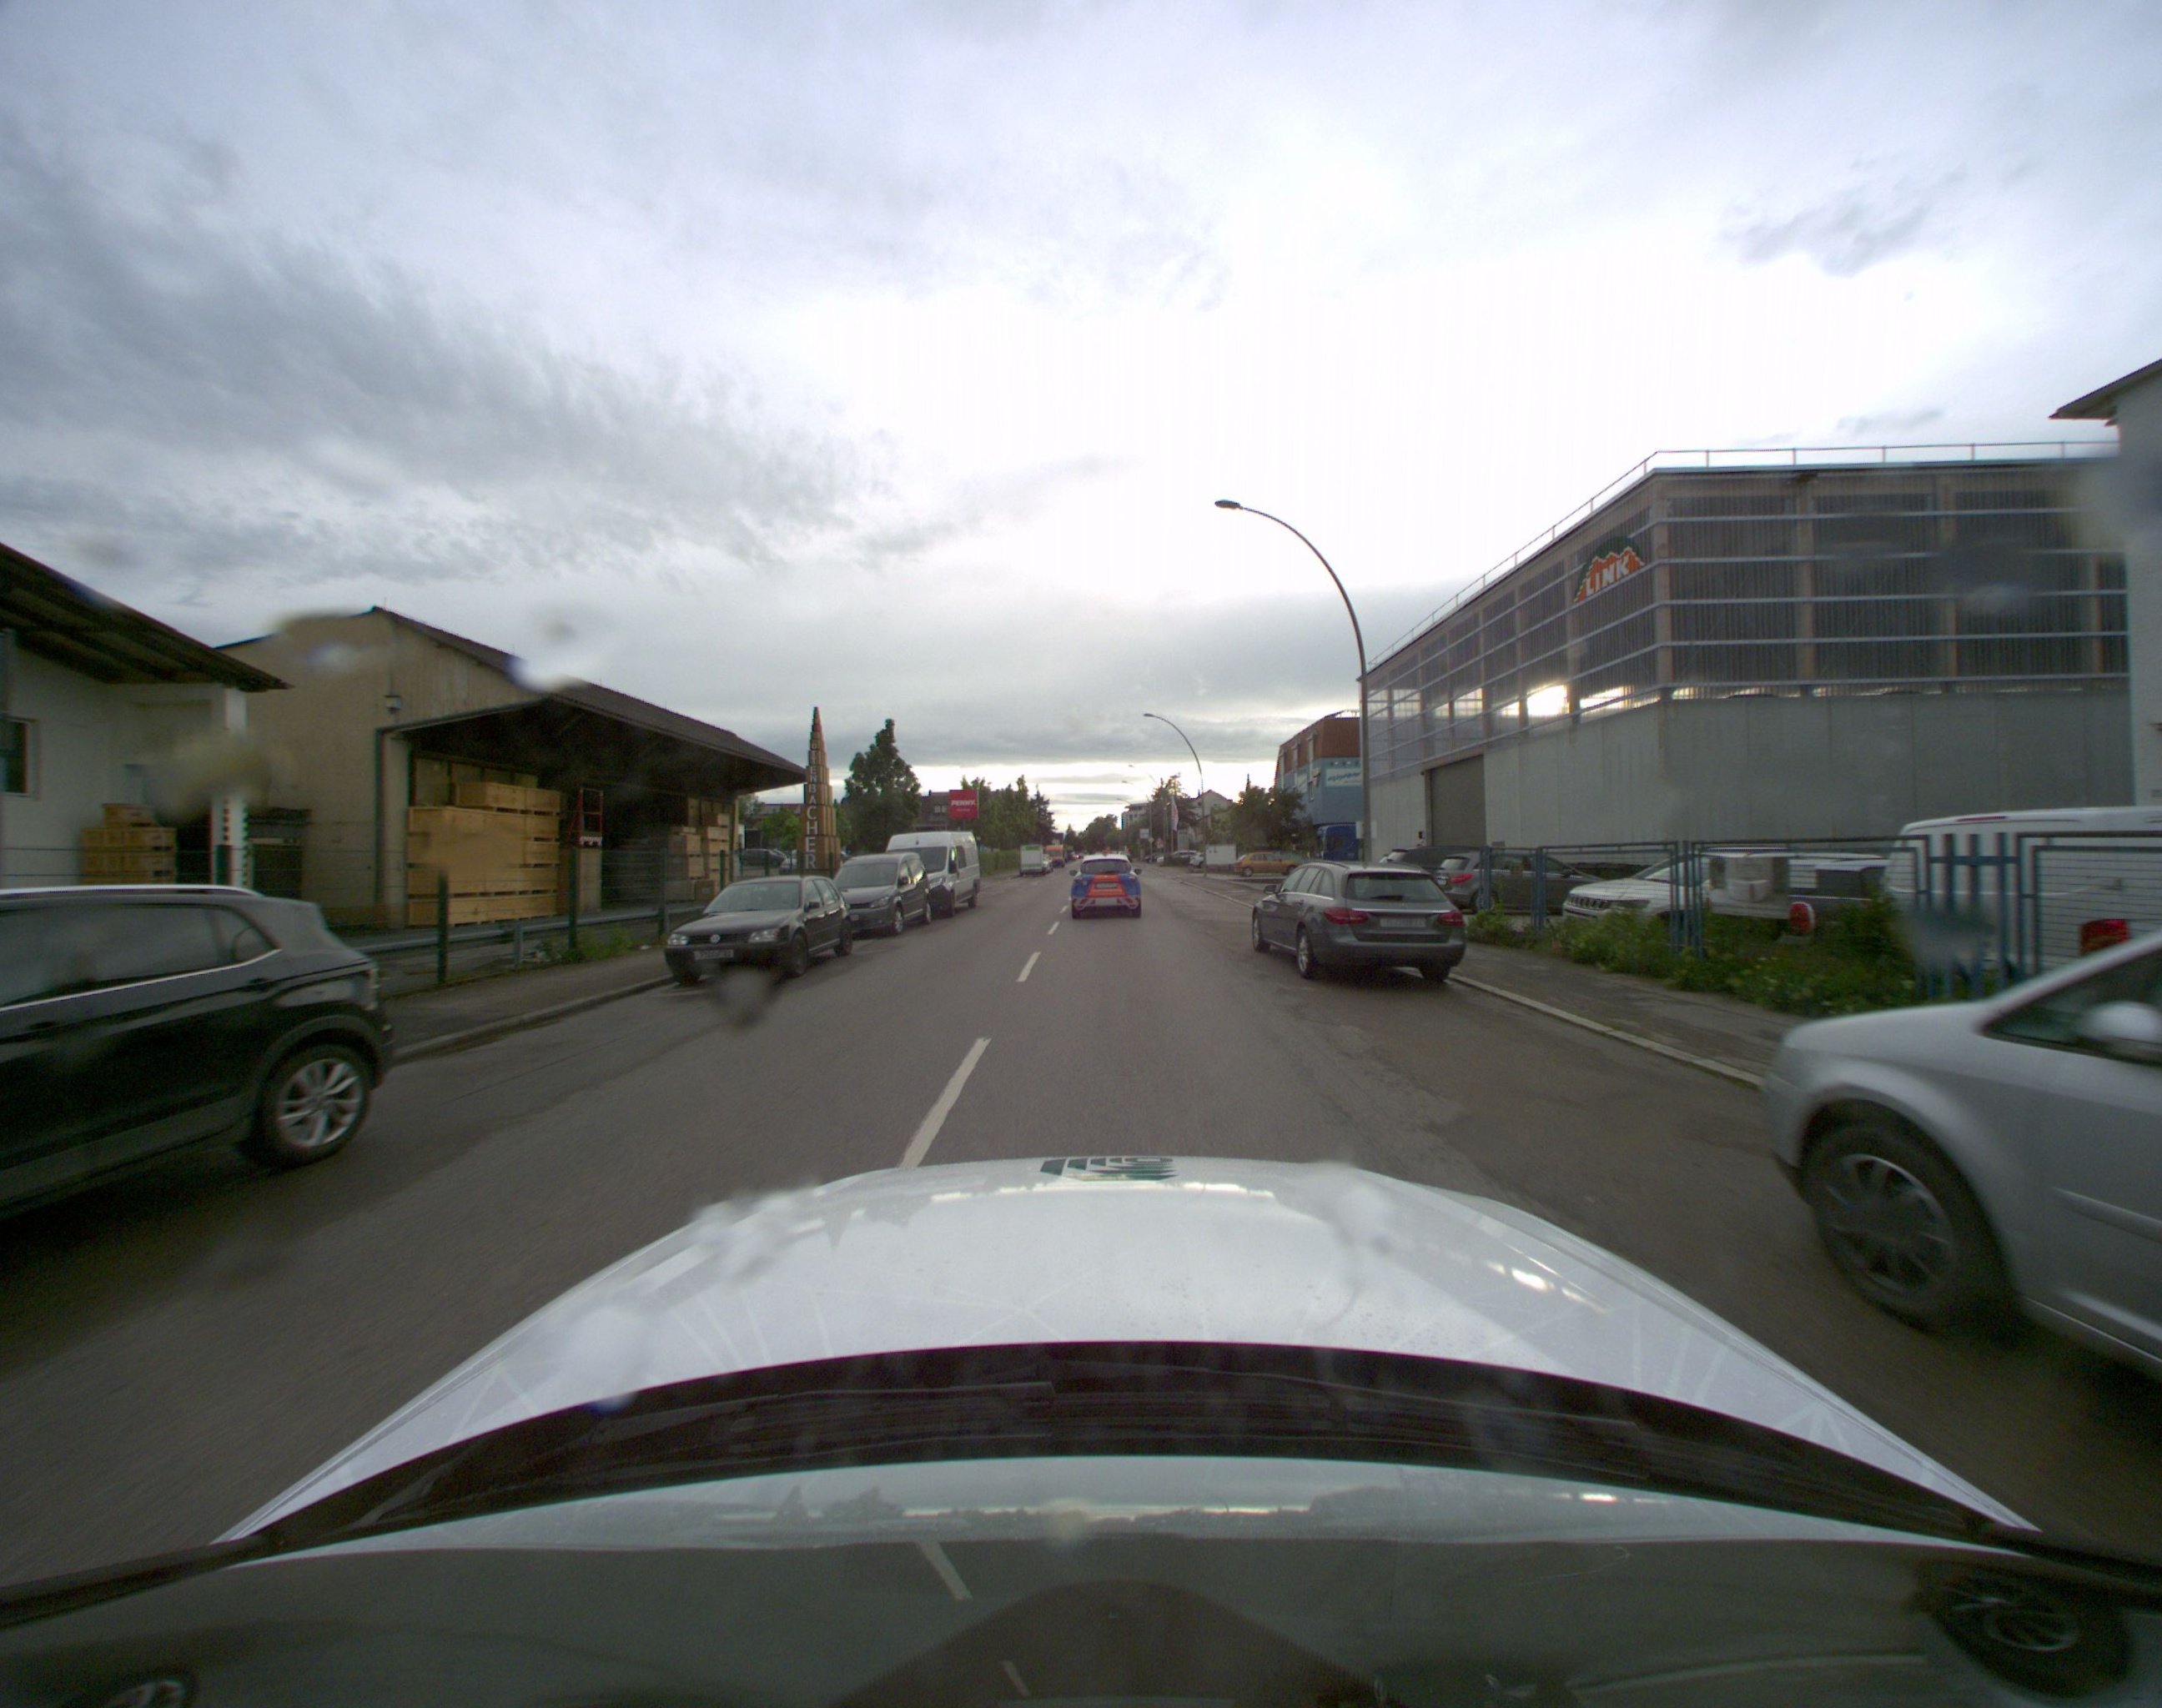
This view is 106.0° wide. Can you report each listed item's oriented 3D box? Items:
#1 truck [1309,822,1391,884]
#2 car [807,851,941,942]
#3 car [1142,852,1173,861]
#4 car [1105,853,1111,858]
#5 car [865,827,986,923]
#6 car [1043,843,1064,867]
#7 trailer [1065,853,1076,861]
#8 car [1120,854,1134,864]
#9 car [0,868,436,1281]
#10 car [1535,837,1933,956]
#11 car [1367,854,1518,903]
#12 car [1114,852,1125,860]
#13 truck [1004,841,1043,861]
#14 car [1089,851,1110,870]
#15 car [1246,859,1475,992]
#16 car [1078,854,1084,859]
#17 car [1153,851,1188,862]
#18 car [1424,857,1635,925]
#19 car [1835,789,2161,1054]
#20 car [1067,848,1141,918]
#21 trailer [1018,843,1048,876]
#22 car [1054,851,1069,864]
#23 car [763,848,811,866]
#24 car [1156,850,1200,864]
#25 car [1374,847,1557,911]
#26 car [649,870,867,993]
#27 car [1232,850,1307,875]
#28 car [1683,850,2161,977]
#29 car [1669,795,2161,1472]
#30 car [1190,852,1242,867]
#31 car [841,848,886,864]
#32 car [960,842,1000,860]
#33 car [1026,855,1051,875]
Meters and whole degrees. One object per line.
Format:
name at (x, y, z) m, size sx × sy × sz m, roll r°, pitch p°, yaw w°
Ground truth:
truck at (16.950, -0.069, 51.502) m, size 4.132 × 3.673 × 2.718 m, roll 2°, pitch -1°, yaw -2°
car at (-4.695, 0.897, 19.159) m, size 1.763 × 1.768 × 4.448 m, roll -5°, pitch -1°, yaw 2°
car at (10.252, 0.326, 108.956) m, size 3.975 × 1.266 × 1.950 m, roll 0°, pitch 0°, yaw -1°
car at (8.319, 0.376, 248.622) m, size 1.645 × 1.483 × 3.999 m, roll 0°, pitch 0°, yaw -1°
car at (-4.521, 0.566, 24.954) m, size 2.150 × 2.427 × 6.461 m, roll -4°, pitch 0°, yaw 1°
car at (-3.052, 0.122, 92.284) m, size 2.117 × 2.537 × 6.022 m, roll -2°, pitch 0°, yaw 0°
trailer at (-1.823, 0.491, 141.466) m, size 1.712 × 1.260 × 5.243 m, roll 0°, pitch 2°, yaw -1°
car at (6.443, 0.743, 114.267) m, size 1.584 × 1.341 × 4.091 m, roll -1°, pitch 0°, yaw 0°
car at (-5.068, 0.914, 3.320) m, size 1.655 × 1.584 × 3.916 m, roll -3°, pitch 0°, yaw 0°
car at (9.478, 0.591, 12.108) m, size 4.431 × 1.624 × 1.893 m, roll 0°, pitch 0°, yaw 0°
car at (11.200, 0.739, 25.452) m, size 3.951 × 1.490 × 1.834 m, roll 0°, pitch 0°, yaw 2°
car at (6.831, 0.441, 146.450) m, size 1.706 × 1.438 × 4.524 m, roll 0°, pitch 0°, yaw -1°
truck at (-8.943, -0.395, 126.865) m, size 5.889 × 3.073 × 2.450 m, roll 0°, pitch -1°, yaw 1°
car at (1.505, 0.564, 67.593) m, size 1.645 × 1.521 × 3.999 m, roll 0°, pitch 0°, yaw -1°
car at (3.569, 0.812, 11.345) m, size 1.732 × 1.466 × 4.546 m, roll 0°, pitch 0°, yaw 1°
car at (0.001, 0.740, 227.502) m, size 1.382 × 1.483 × 3.783 m, roll -1°, pitch 0°, yaw -1°
car at (10.658, 0.327, 97.273) m, size 3.971 × 1.266 × 1.952 m, roll 0°, pitch 0°, yaw 2°
car at (10.908, 0.875, 20.029) m, size 4.228 × 1.536 × 1.812 m, roll 1°, pitch 0°, yaw 1°
car at (9.570, 0.489, 6.792) m, size 4.715 × 1.886 × 2.000 m, roll 0°, pitch -1°, yaw 1°
car at (0.571, 0.702, 21.045) m, size 1.726 × 1.631 × 3.494 m, roll -1°, pitch 0°, yaw 0°
trailer at (-3.616, 0.372, 62.395) m, size 1.806 × 2.314 × 4.730 m, roll -3°, pitch 0°, yaw 1°
car at (-2.968, 0.513, 124.287) m, size 1.987 × 1.947 × 5.365 m, roll -1°, pitch 0°, yaw 1°
car at (-27.974, 0.284, 77.494) m, size 3.982 × 1.606 × 1.768 m, roll 0°, pitch -1°, yaw -7°
car at (9.969, 0.327, 84.113) m, size 4.324 × 1.475 × 1.902 m, roll 0°, pitch 0°, yaw 0°
car at (10.596, 0.668, 22.715) m, size 4.208 × 1.675 × 1.983 m, roll 0°, pitch 0°, yaw 3°
car at (-4.752, 1.047, 12.717) m, size 1.656 × 1.448 × 4.316 m, roll -3°, pitch 0°, yaw 0°
car at (11.009, 0.484, 47.679) m, size 3.975 × 1.430 × 1.630 m, roll -1°, pitch 0°, yaw -1°
car at (10.066, 0.652, 9.810) m, size 4.306 × 1.379 × 1.850 m, roll 0°, pitch 0°, yaw 0°
car at (3.433, 0.669, 1.505) m, size 1.731 × 1.621 × 4.376 m, roll 0°, pitch 0°, yaw 3°
car at (12.125, 0.501, 73.517) m, size 4.401 × 1.393 × 1.880 m, roll 0°, pitch 0°, yaw 0°
car at (-21.700, 0.226, 81.369) m, size 4.046 × 1.551 × 1.883 m, roll 0°, pitch 0°, yaw -4°
car at (-11.609, -0.320, 93.499) m, size 4.290 × 2.014 × 2.063 m, roll 0°, pitch -1°, yaw 1°
car at (-3.482, 0.864, 67.169) m, size 1.766 × 1.498 × 4.137 m, roll -1°, pitch 1°, yaw 1°
